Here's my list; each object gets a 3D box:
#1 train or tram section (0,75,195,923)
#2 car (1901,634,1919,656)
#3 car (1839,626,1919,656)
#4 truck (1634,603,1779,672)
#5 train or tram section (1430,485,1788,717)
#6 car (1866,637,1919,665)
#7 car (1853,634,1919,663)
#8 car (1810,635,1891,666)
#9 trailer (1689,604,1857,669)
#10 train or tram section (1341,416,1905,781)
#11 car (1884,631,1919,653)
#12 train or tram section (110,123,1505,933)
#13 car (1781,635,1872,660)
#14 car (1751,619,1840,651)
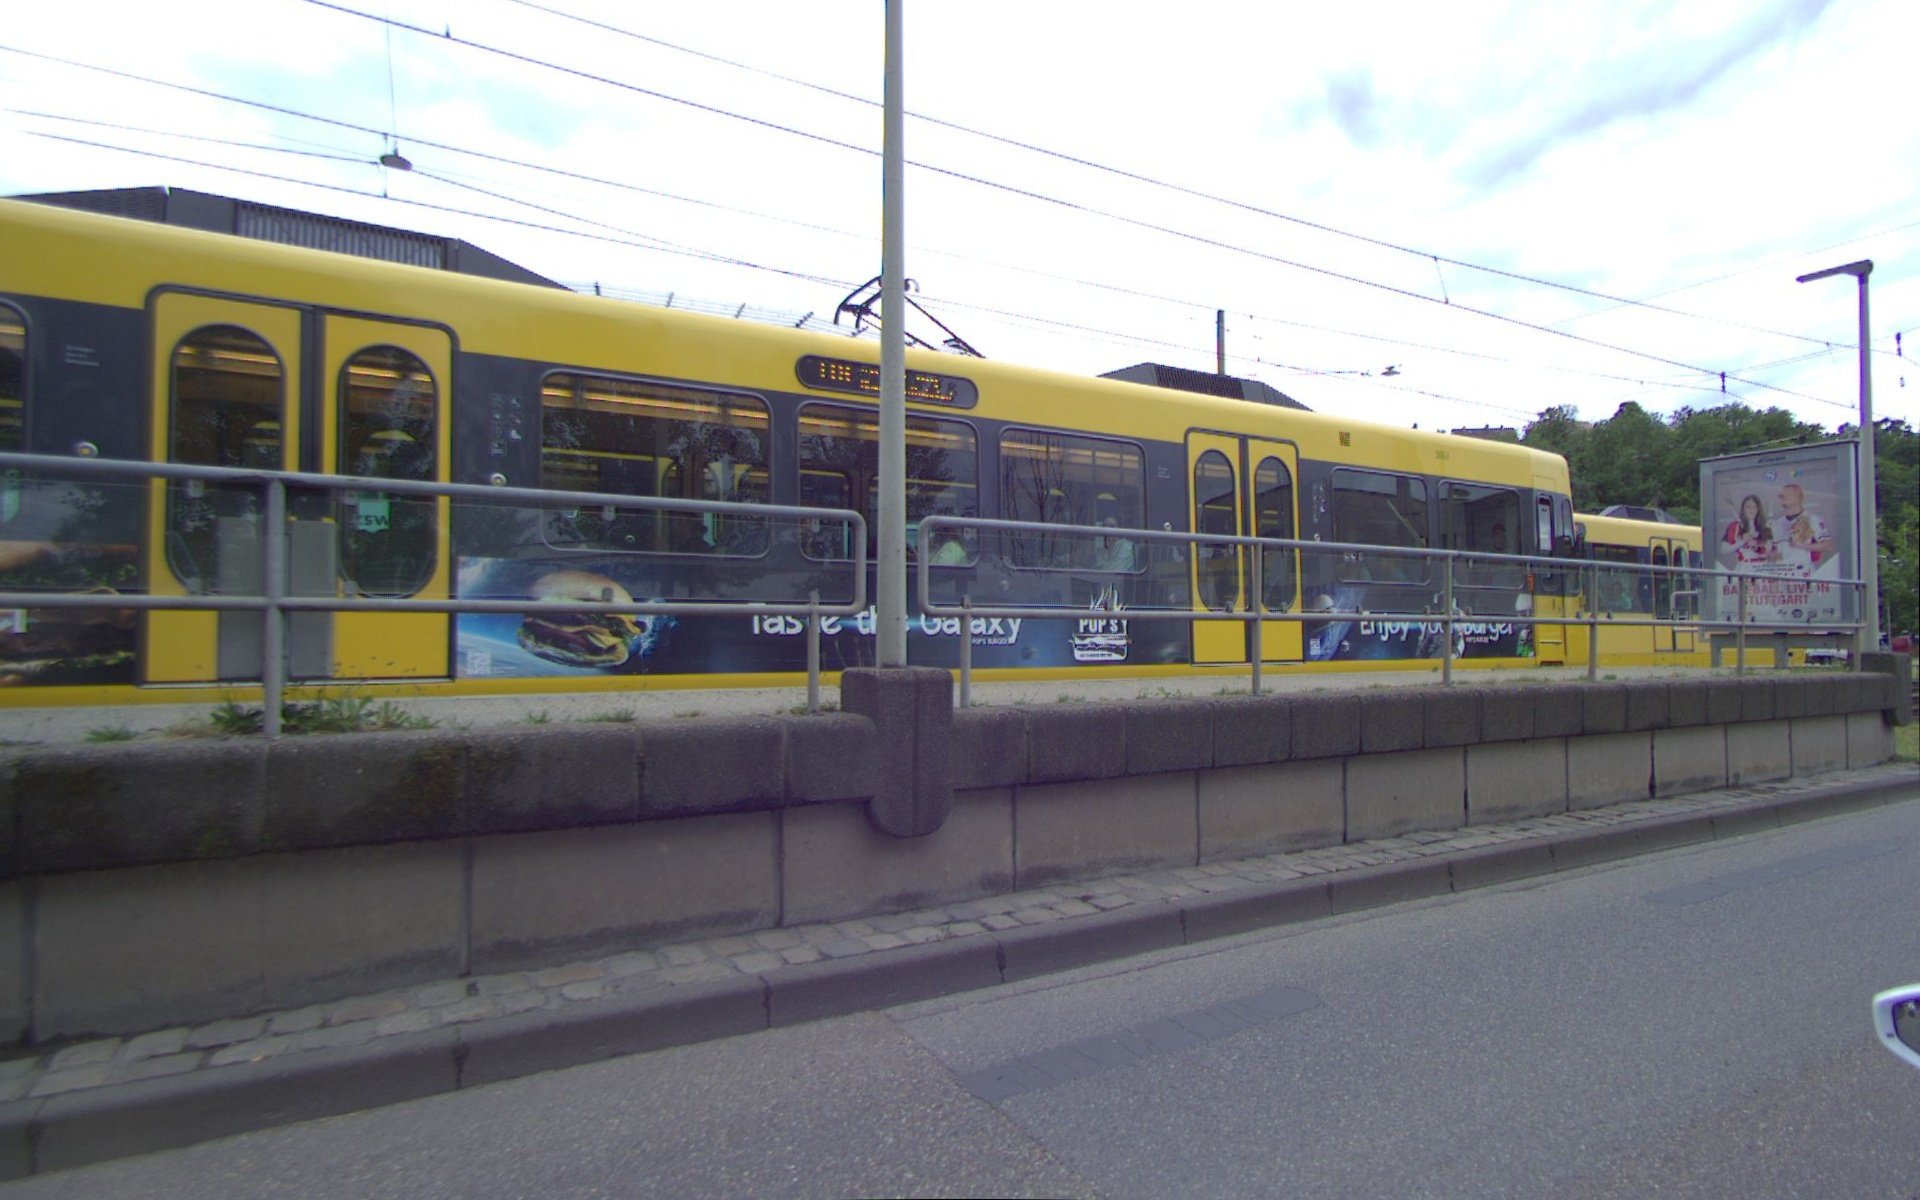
[{"bbox_3d":[-9.963,-0.475,3.108,11.772,4.019,2.728,0,-2,-31],"label":"train or tram section"},{"bbox_3d":[76.469,3.490,78.397,1.808,1.728,3.978,0,-2,-24],"label":"car"},{"bbox_3d":[67.827,3.003,74.200,1.975,2.039,3.973,5,-4,-27],"label":"car"},{"bbox_3d":[34.853,1.737,46.852,6.827,3.029,2.871,1,-2,-29],"label":"truck"},{"bbox_3d":[13.014,0.150,19.758,9.070,3.845,1.984,2,-2,-30],"label":"train or tram section"},{"bbox_3d":[72.151,3.916,76.688,1.975,2.039,3.973,5,-4,-27],"label":"car"},{"bbox_3d":[70.101,3.679,75.562,1.975,2.039,3.973,5,-4,-27],"label":"car"},{"bbox_3d":[64.875,3.681,73.233,1.975,2.039,3.973,5,-4,-27],"label":"car"},{"bbox_3d":[40.763,1.813,50.244,10.663,3.021,2.879,1,-2,-30],"label":"trailer"},{"bbox_3d":[10.356,0.049,15.166,10.077,4.119,2.958,0,-2,-31],"label":"train or tram section"},{"bbox_3d":[74.401,3.251,77.664,1.808,1.728,3.978,1,-3,-23],"label":"car"},{"bbox_3d":[0.191,-0.300,9.168,11.772,4.019,2.728,0,-2,-31],"label":"train or tram section"},{"bbox_3d":[62.041,3.393,72.027,1.976,1.595,4.577,5,-4,-28],"label":"car"},{"bbox_3d":[57.320,2.433,69.026,1.963,1.922,4.606,4,-4,-8],"label":"car"}]
